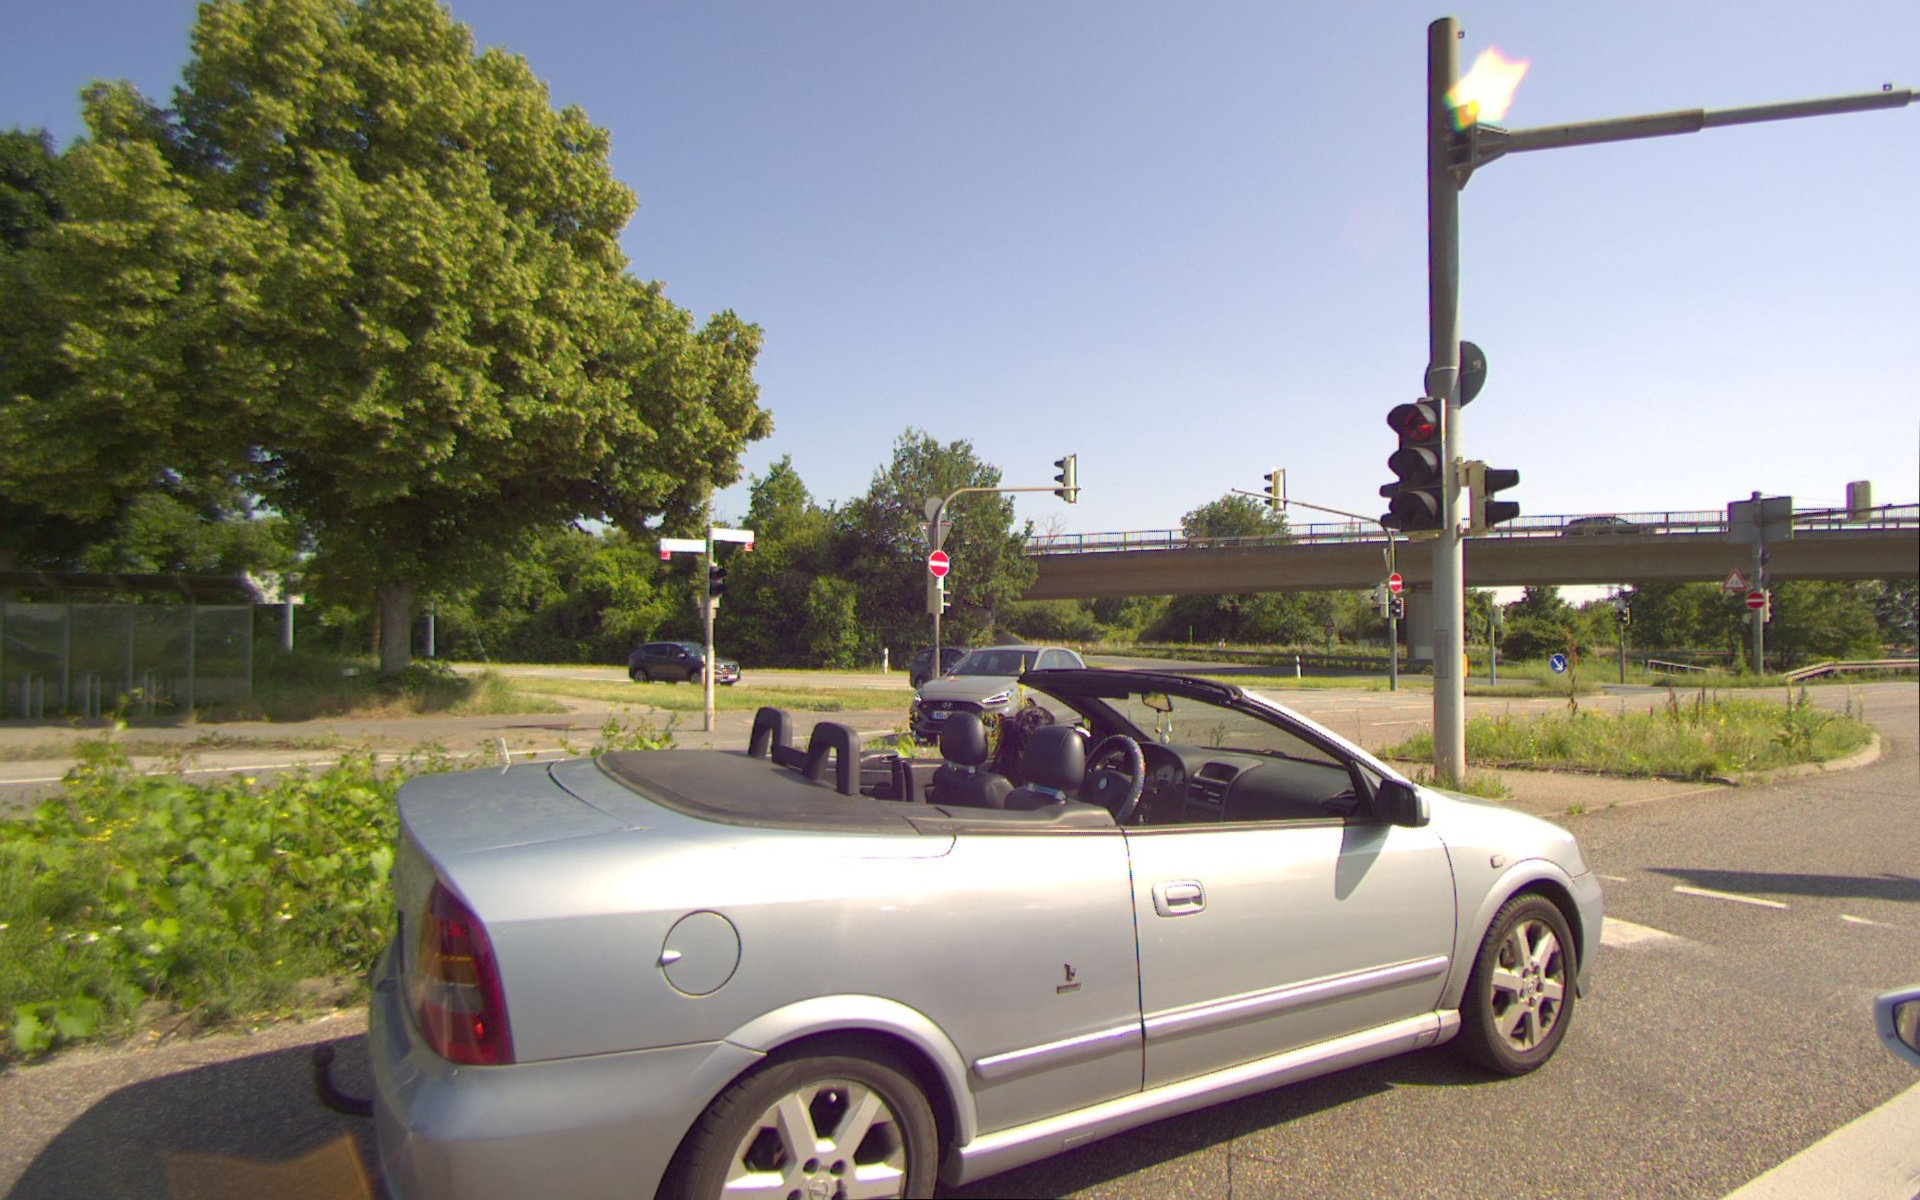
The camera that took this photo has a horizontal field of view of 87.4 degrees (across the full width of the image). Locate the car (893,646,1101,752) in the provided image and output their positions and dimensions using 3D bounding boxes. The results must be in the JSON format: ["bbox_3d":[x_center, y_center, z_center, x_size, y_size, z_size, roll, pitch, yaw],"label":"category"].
[{"bbox_3d":[0.747,1.466,16.089,1.836,1.443,4.123,-1,-3,26],"label":"car"}]

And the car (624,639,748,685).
[{"bbox_3d":[-10.099,2.265,37.014,4.270,1.616,1.651,-1,-2,22],"label":"car"}]

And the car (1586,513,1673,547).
[{"bbox_3d":[34.188,-3.561,51.343,3.322,1.497,1.543,0,-3,7],"label":"car"}]

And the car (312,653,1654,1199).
[{"bbox_3d":[0.331,0.870,3.321,4.049,1.352,1.666,1,-3,-30],"label":"car"}]

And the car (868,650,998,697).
[{"bbox_3d":[-0.896,2.189,30.569,1.638,1.297,4.304,2,-3,-40],"label":"car"}]
